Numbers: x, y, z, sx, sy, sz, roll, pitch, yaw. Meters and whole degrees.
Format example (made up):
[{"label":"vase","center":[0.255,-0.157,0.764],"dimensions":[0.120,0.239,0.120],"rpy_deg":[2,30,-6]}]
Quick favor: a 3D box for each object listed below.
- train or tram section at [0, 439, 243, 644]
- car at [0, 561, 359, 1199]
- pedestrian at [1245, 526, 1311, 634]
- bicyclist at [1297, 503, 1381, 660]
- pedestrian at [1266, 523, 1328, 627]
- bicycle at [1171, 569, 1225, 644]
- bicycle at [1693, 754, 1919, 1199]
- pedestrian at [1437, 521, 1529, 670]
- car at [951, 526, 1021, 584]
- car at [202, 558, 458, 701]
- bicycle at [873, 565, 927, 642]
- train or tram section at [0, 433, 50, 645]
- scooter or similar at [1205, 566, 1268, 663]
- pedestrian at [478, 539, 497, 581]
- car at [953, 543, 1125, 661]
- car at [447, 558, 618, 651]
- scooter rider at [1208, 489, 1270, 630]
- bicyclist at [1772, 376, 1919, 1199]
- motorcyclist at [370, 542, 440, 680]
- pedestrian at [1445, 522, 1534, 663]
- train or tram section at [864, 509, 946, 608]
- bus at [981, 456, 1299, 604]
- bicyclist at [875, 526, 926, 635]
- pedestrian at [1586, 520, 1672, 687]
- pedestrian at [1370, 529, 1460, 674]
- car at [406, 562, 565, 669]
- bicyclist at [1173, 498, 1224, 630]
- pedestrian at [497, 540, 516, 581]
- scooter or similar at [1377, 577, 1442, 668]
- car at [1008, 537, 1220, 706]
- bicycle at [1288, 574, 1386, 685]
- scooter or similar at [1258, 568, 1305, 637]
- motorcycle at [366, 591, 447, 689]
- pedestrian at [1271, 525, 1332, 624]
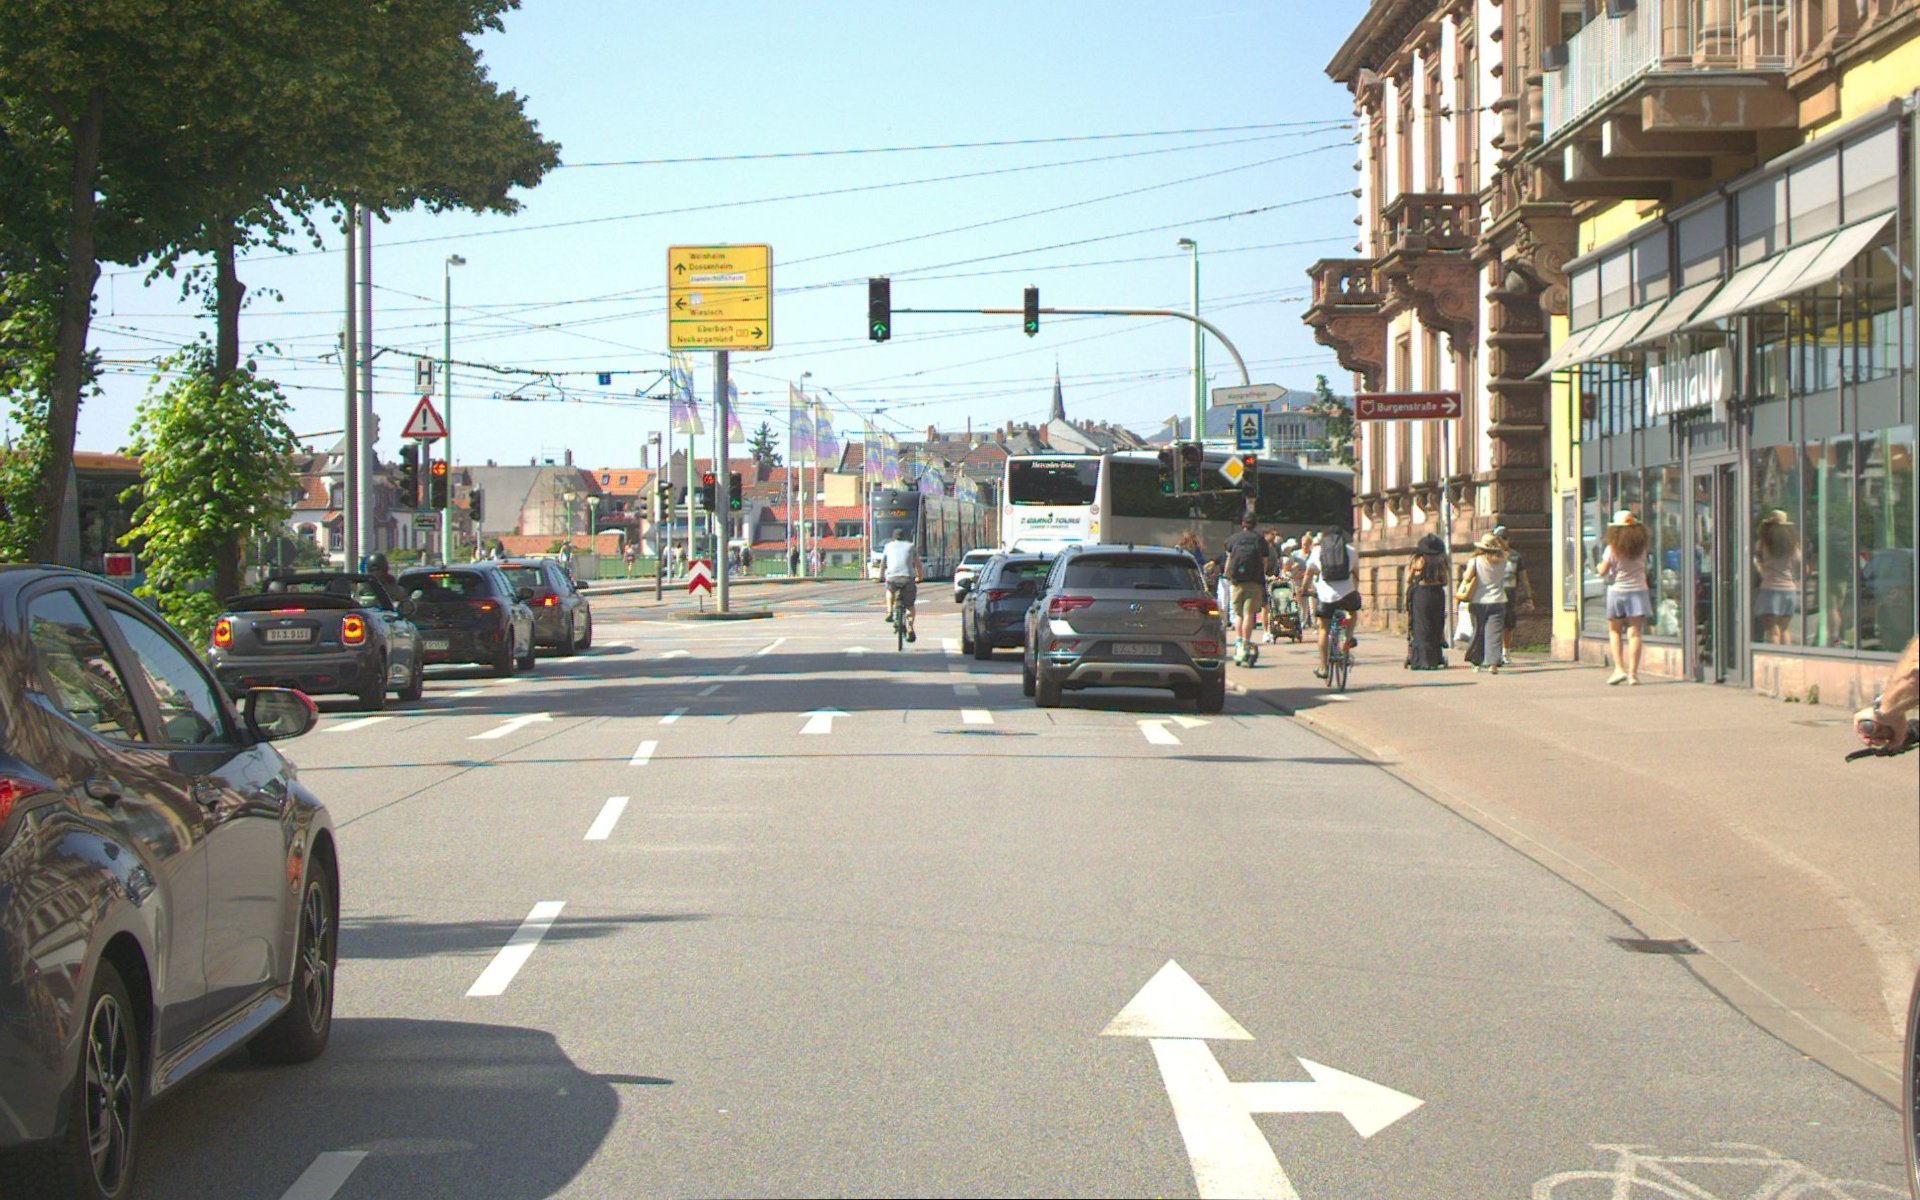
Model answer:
[{"label":"train or tram section","center":[-16.421,-1.011,64.184],"dimensions":[2.824,3.569,8.221],"rpy_deg":[-1,0,12]},{"label":"car","center":[-2.664,0.675,8.623],"dimensions":[1.777,1.470,4.000],"rpy_deg":[-1,0,-3]},{"label":"pedestrian","center":[4.944,-0.310,53.491],"dimensions":[0.862,1.634,0.876],"rpy_deg":[2,0,-2]},{"label":"bicyclist","center":[3.881,-0.187,35.256],"dimensions":[0.688,1.571,1.049],"rpy_deg":[2,0,-1]},{"label":"pedestrian","center":[5.357,-0.399,54.620],"dimensions":[0.862,1.634,0.876],"rpy_deg":[-1,1,-2]},{"label":"bicycle","center":[3.583,0.088,51.880],"dimensions":[0.734,1.089,1.898],"rpy_deg":[2,0,2]},{"label":"bicycle","center":[2.018,0.899,6.595],"dimensions":[0.734,1.089,1.911],"rpy_deg":[2,0,-2]},{"label":"pedestrian","center":[5.837,-0.057,38.396],"dimensions":[0.862,1.634,0.876],"rpy_deg":[-1,1,-2]},{"label":"car","center":[0.719,-1.222,94.575],"dimensions":[1.859,1.502,4.000],"rpy_deg":[2,0,1]},{"label":"car","center":[-6.364,0.274,35.132],"dimensions":[1.815,1.328,4.000],"rpy_deg":[2,0,1]},{"label":"bicycle","center":[-0.883,0.048,50.352],"dimensions":[0.734,1.089,1.898],"rpy_deg":[2,0,-2]},{"label":"train or tram section","center":[-18.010,-1.017,55.159],"dimensions":[2.823,3.569,10.028],"rpy_deg":[-1,0,8]},{"label":"scooter or similar","center":[3.419,0.174,42.608],"dimensions":[0.688,1.163,1.464],"rpy_deg":[2,0,2]},{"label":"pedestrian","center":[-16.466,-1.392,119.699],"dimensions":[0.558,1.411,0.636],"rpy_deg":[2,0,-2]},{"label":"car","center":[1.034,0.011,46.879],"dimensions":[1.993,1.487,4.000],"rpy_deg":[2,0,-3]},{"label":"car","center":[-6.424,0.038,52.035],"dimensions":[2.037,1.328,4.000],"rpy_deg":[-1,1,1]},{"label":"scooter rider","center":[3.456,-0.500,42.644],"dimensions":[0.688,1.723,0.778],"rpy_deg":[2,0,2]},{"label":"bicyclist","center":[2.035,0.411,6.558],"dimensions":[0.688,1.611,0.918],"rpy_deg":[2,0,-1]},{"label":"motorcyclist","center":[-6.414,0.130,39.755],"dimensions":[0.689,1.550,0.718],"rpy_deg":[-2,-1,-3]},{"label":"pedestrian","center":[6.294,-0.095,40.899],"dimensions":[0.862,1.634,0.876],"rpy_deg":[2,0,-2]},{"label":"train or tram section","center":[-2.157,-1.683,138.346],"dimensions":[2.822,3.764,8.226],"rpy_deg":[2,1,2]},{"label":"bus","center":[3.890,-1.393,71.484],"dimensions":[2.974,2.767,8.626],"rpy_deg":[2,0,30]},{"label":"bicyclist","center":[-0.875,-0.285,50.298],"dimensions":[0.688,1.571,1.049],"rpy_deg":[2,0,-2]},{"label":"pedestrian","center":[6.595,0.022,33.919],"dimensions":[0.654,1.615,0.815],"rpy_deg":[-1,1,-2]},{"label":"pedestrian","center":[5.274,0.015,39.894],"dimensions":[0.862,1.634,0.876],"rpy_deg":[2,0,-2]},{"label":"car","center":[-6.055,0.167,44.228],"dimensions":[1.451,1.296,4.000],"rpy_deg":[-1,1,1]},{"label":"bicyclist","center":[3.589,-0.538,51.819],"dimensions":[0.688,1.955,0.778],"rpy_deg":[2,0,2]},{"label":"pedestrian","center":[-15.799,-1.373,119.705],"dimensions":[0.558,1.411,0.636],"rpy_deg":[2,0,-2]},{"label":"scooter or similar","center":[5.286,0.256,40.443],"dimensions":[0.600,1.044,0.799],"rpy_deg":[2,0,-2]},{"label":"car","center":[1.436,0.190,33.389],"dimensions":[1.873,1.487,4.000],"rpy_deg":[2,0,1]},{"label":"bicycle","center":[3.867,0.291,35.390],"dimensions":[0.734,1.089,1.898],"rpy_deg":[2,0,-1]},{"label":"scooter or similar","center":[4.931,0.033,52.763],"dimensions":[0.600,1.044,0.799],"rpy_deg":[2,0,-2]},{"label":"motorcycle","center":[-6.402,0.451,39.834],"dimensions":[0.698,1.060,1.910],"rpy_deg":[-2,1,-3]},{"label":"pedestrian","center":[5.714,-0.428,57.624],"dimensions":[0.862,1.634,0.876],"rpy_deg":[2,0,-2]}]
